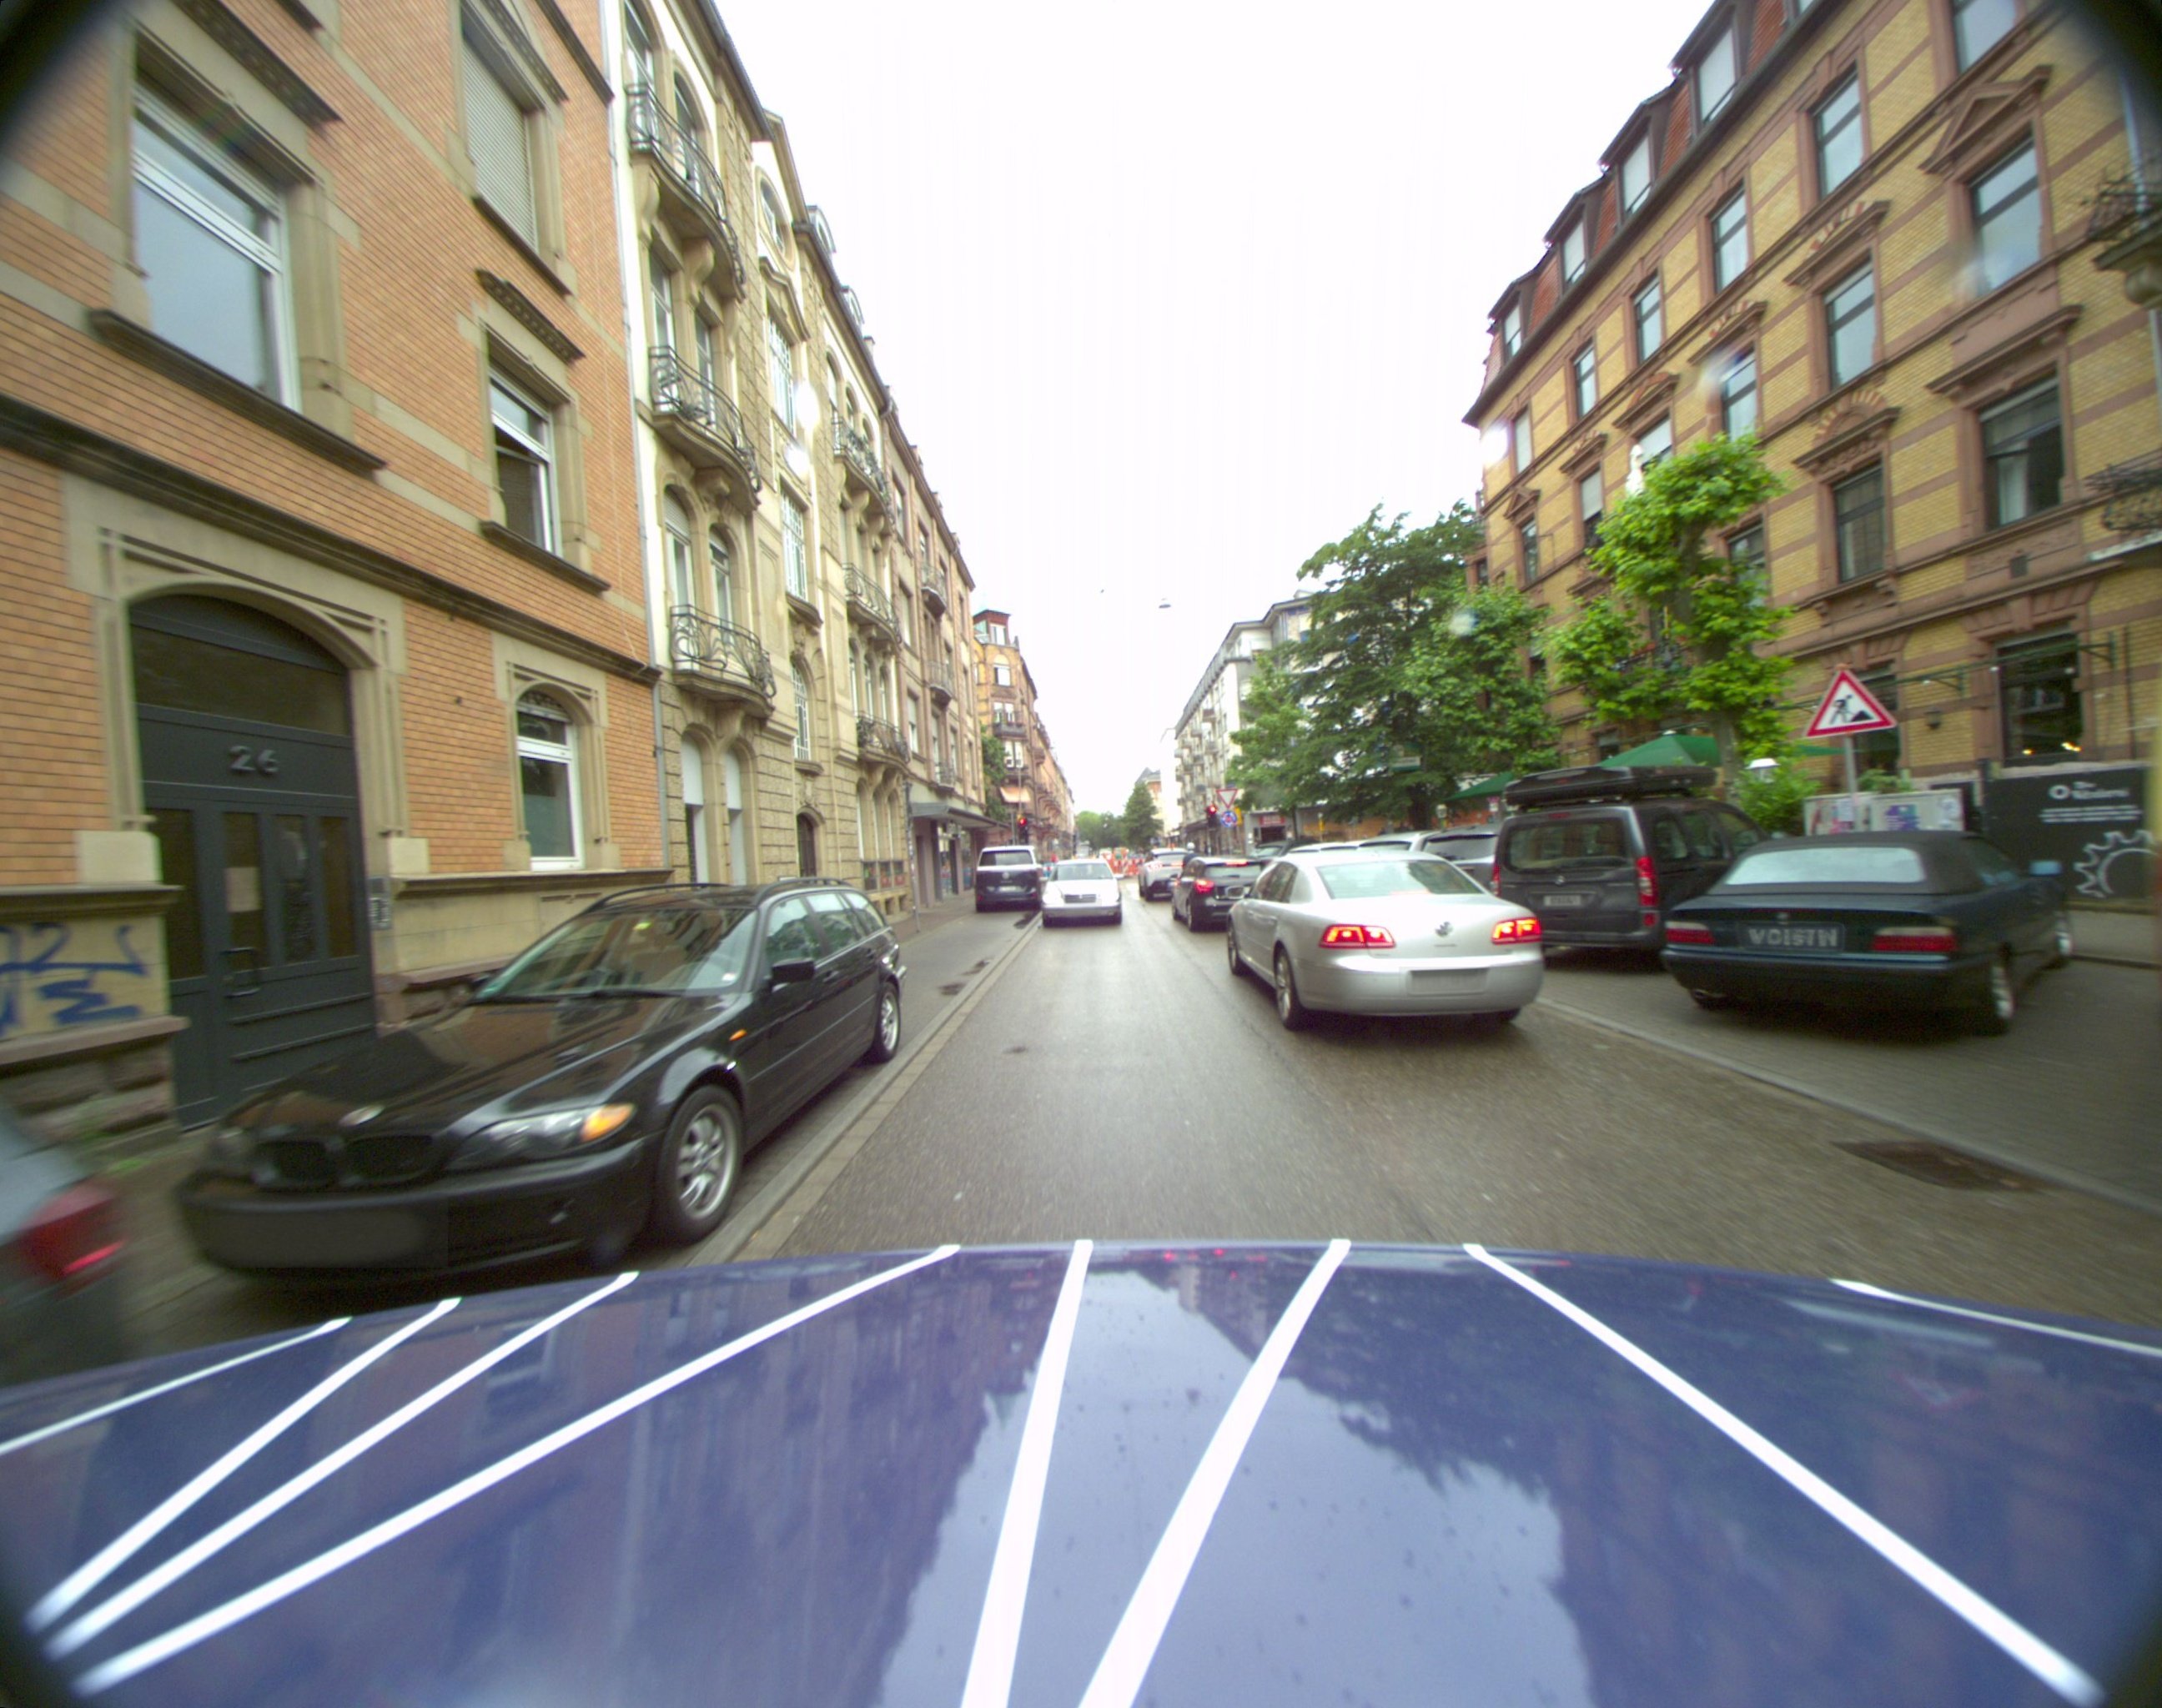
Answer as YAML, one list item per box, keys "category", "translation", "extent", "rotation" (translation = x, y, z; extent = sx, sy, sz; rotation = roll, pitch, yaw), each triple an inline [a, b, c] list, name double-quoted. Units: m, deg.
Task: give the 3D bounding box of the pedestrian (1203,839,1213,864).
- category: "pedestrian"
  translation: [9.630, -0.177, 57.716]
  extent: [0.604, 1.837, 0.770]
  rotation: [-4, 0, 10]

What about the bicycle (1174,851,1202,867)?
- category: "bicycle"
  translation: [8.301, 0.392, 58.951]
  extent: [1.895, 1.028, 0.661]
  rotation: [-6, 0, -13]

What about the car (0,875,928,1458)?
- category: "car"
  translation: [-2.394, 1.055, 4.590]
  extent: [1.791, 1.458, 4.482]
  rotation: [-3, 2, 2]

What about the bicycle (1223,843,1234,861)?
- category: "bicycle"
  translation: [11.675, -0.126, 60.314]
  extent: [0.450, 1.365, 2.024]
  rotation: [-6, 0, 3]

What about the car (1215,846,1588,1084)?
- category: "car"
  translation: [2.548, 0.796, 7.402]
  extent: [1.799, 1.484, 4.585]
  rotation: [-4, -1, 3]

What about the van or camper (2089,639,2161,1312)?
- category: "van or camper"
  translation: [6.110, 0.172, 2.871]
  extent: [4.732, 2.254, 2.180]
  rotation: [-6, 0, -31]

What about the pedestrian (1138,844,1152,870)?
- category: "pedestrian"
  translation: [4.879, 0.251, 58.054]
  extent: [0.717, 1.886, 0.606]
  rotation: [-4, 2, 37]

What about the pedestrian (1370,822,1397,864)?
- category: "pedestrian"
  translation: [14.870, -0.530, 37.369]
  extent: [0.942, 2.002, 0.866]
  rotation: [-4, 1, 37]

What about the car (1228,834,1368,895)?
- category: "car"
  translation: [7.230, 0.303, 25.142]
  extent: [4.464, 1.555, 1.995]
  rotation: [-6, 3, -35]

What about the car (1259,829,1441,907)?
- category: "car"
  translation: [7.276, 0.350, 20.405]
  extent: [4.731, 1.554, 1.996]
  rotation: [-6, 0, -33]

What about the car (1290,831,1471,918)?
- category: "car"
  translation: [7.062, 0.417, 17.780]
  extent: [4.143, 1.485, 1.797]
  rotation: [-7, 3, -34]

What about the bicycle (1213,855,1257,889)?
- category: "bicycle"
  translation: [5.613, 0.660, 27.723]
  extent: [0.588, 1.137, 1.679]
  rotation: [-5, 1, -27]

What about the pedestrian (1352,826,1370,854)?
- category: "pedestrian"
  translation: [16.785, -0.816, 45.525]
  extent: [0.797, 1.606, 0.606]
  rotation: [-4, 1, 37]

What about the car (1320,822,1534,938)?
- category: "car"
  translation: [6.789, 0.428, 14.764]
  extent: [4.143, 1.652, 1.797]
  rotation: [-7, 2, -35]

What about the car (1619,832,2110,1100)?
- category: "car"
  translation: [6.367, 0.625, 6.101]
  extent: [4.006, 1.486, 1.823]
  rotation: [-2, 0, -30]

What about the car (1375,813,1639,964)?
- category: "car"
  translation: [6.593, 0.406, 11.605]
  extent: [4.143, 1.653, 1.797]
  rotation: [-7, 3, -35]

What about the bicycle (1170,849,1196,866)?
- category: "bicycle"
  translation: [8.458, 0.292, 62.872]
  extent: [2.021, 1.188, 0.551]
  rotation: [-6, 0, 7]

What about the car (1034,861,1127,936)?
- category: "car"
  translation: [-0.057, 0.948, 18.336]
  extent: [1.859, 1.390, 4.979]
  rotation: [-3, 1, -1]

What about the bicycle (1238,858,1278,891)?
- category: "bicycle"
  translation: [6.375, 0.736, 27.488]
  extent: [0.400, 1.137, 1.679]
  rotation: [-5, 1, -24]

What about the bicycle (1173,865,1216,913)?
- category: "bicycle"
  translation: [3.035, 0.913, 20.477]
  extent: [0.772, 1.173, 2.270]
  rotation: [-3, -1, 0]

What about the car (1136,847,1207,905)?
- category: "car"
  translation: [2.890, 0.656, 25.254]
  extent: [1.863, 1.650, 5.009]
  rotation: [-2, 0, 2]

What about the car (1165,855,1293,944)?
- category: "car"
  translation: [2.877, 0.815, 15.658]
  extent: [1.800, 1.485, 4.138]
  rotation: [-2, 1, 0]

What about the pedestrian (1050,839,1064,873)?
- category: "pedestrian"
  translation: [-1.867, 0.152, 58.781]
  extent: [0.696, 2.594, 0.539]
  rotation: [-5, 1, -30]

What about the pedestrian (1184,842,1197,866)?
- category: "pedestrian"
  translation: [8.497, -0.017, 59.026]
  extent: [0.862, 1.837, 0.770]
  rotation: [-4, 0, 10]

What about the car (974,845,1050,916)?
- category: "car"
  translation: [-2.055, 0.737, 24.151]
  extent: [1.999, 1.927, 5.229]
  rotation: [-2, 1, -1]

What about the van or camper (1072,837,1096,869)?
- category: "van or camper"
  translation: [0.355, -0.146, 86.128]
  extent: [2.411, 3.308, 7.073]
  rotation: [-4, 0, 0]

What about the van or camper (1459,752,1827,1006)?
- category: "van or camper"
  translation: [6.630, 0.113, 8.875]
  extent: [4.089, 2.227, 1.933]
  rotation: [-7, 3, -31]
